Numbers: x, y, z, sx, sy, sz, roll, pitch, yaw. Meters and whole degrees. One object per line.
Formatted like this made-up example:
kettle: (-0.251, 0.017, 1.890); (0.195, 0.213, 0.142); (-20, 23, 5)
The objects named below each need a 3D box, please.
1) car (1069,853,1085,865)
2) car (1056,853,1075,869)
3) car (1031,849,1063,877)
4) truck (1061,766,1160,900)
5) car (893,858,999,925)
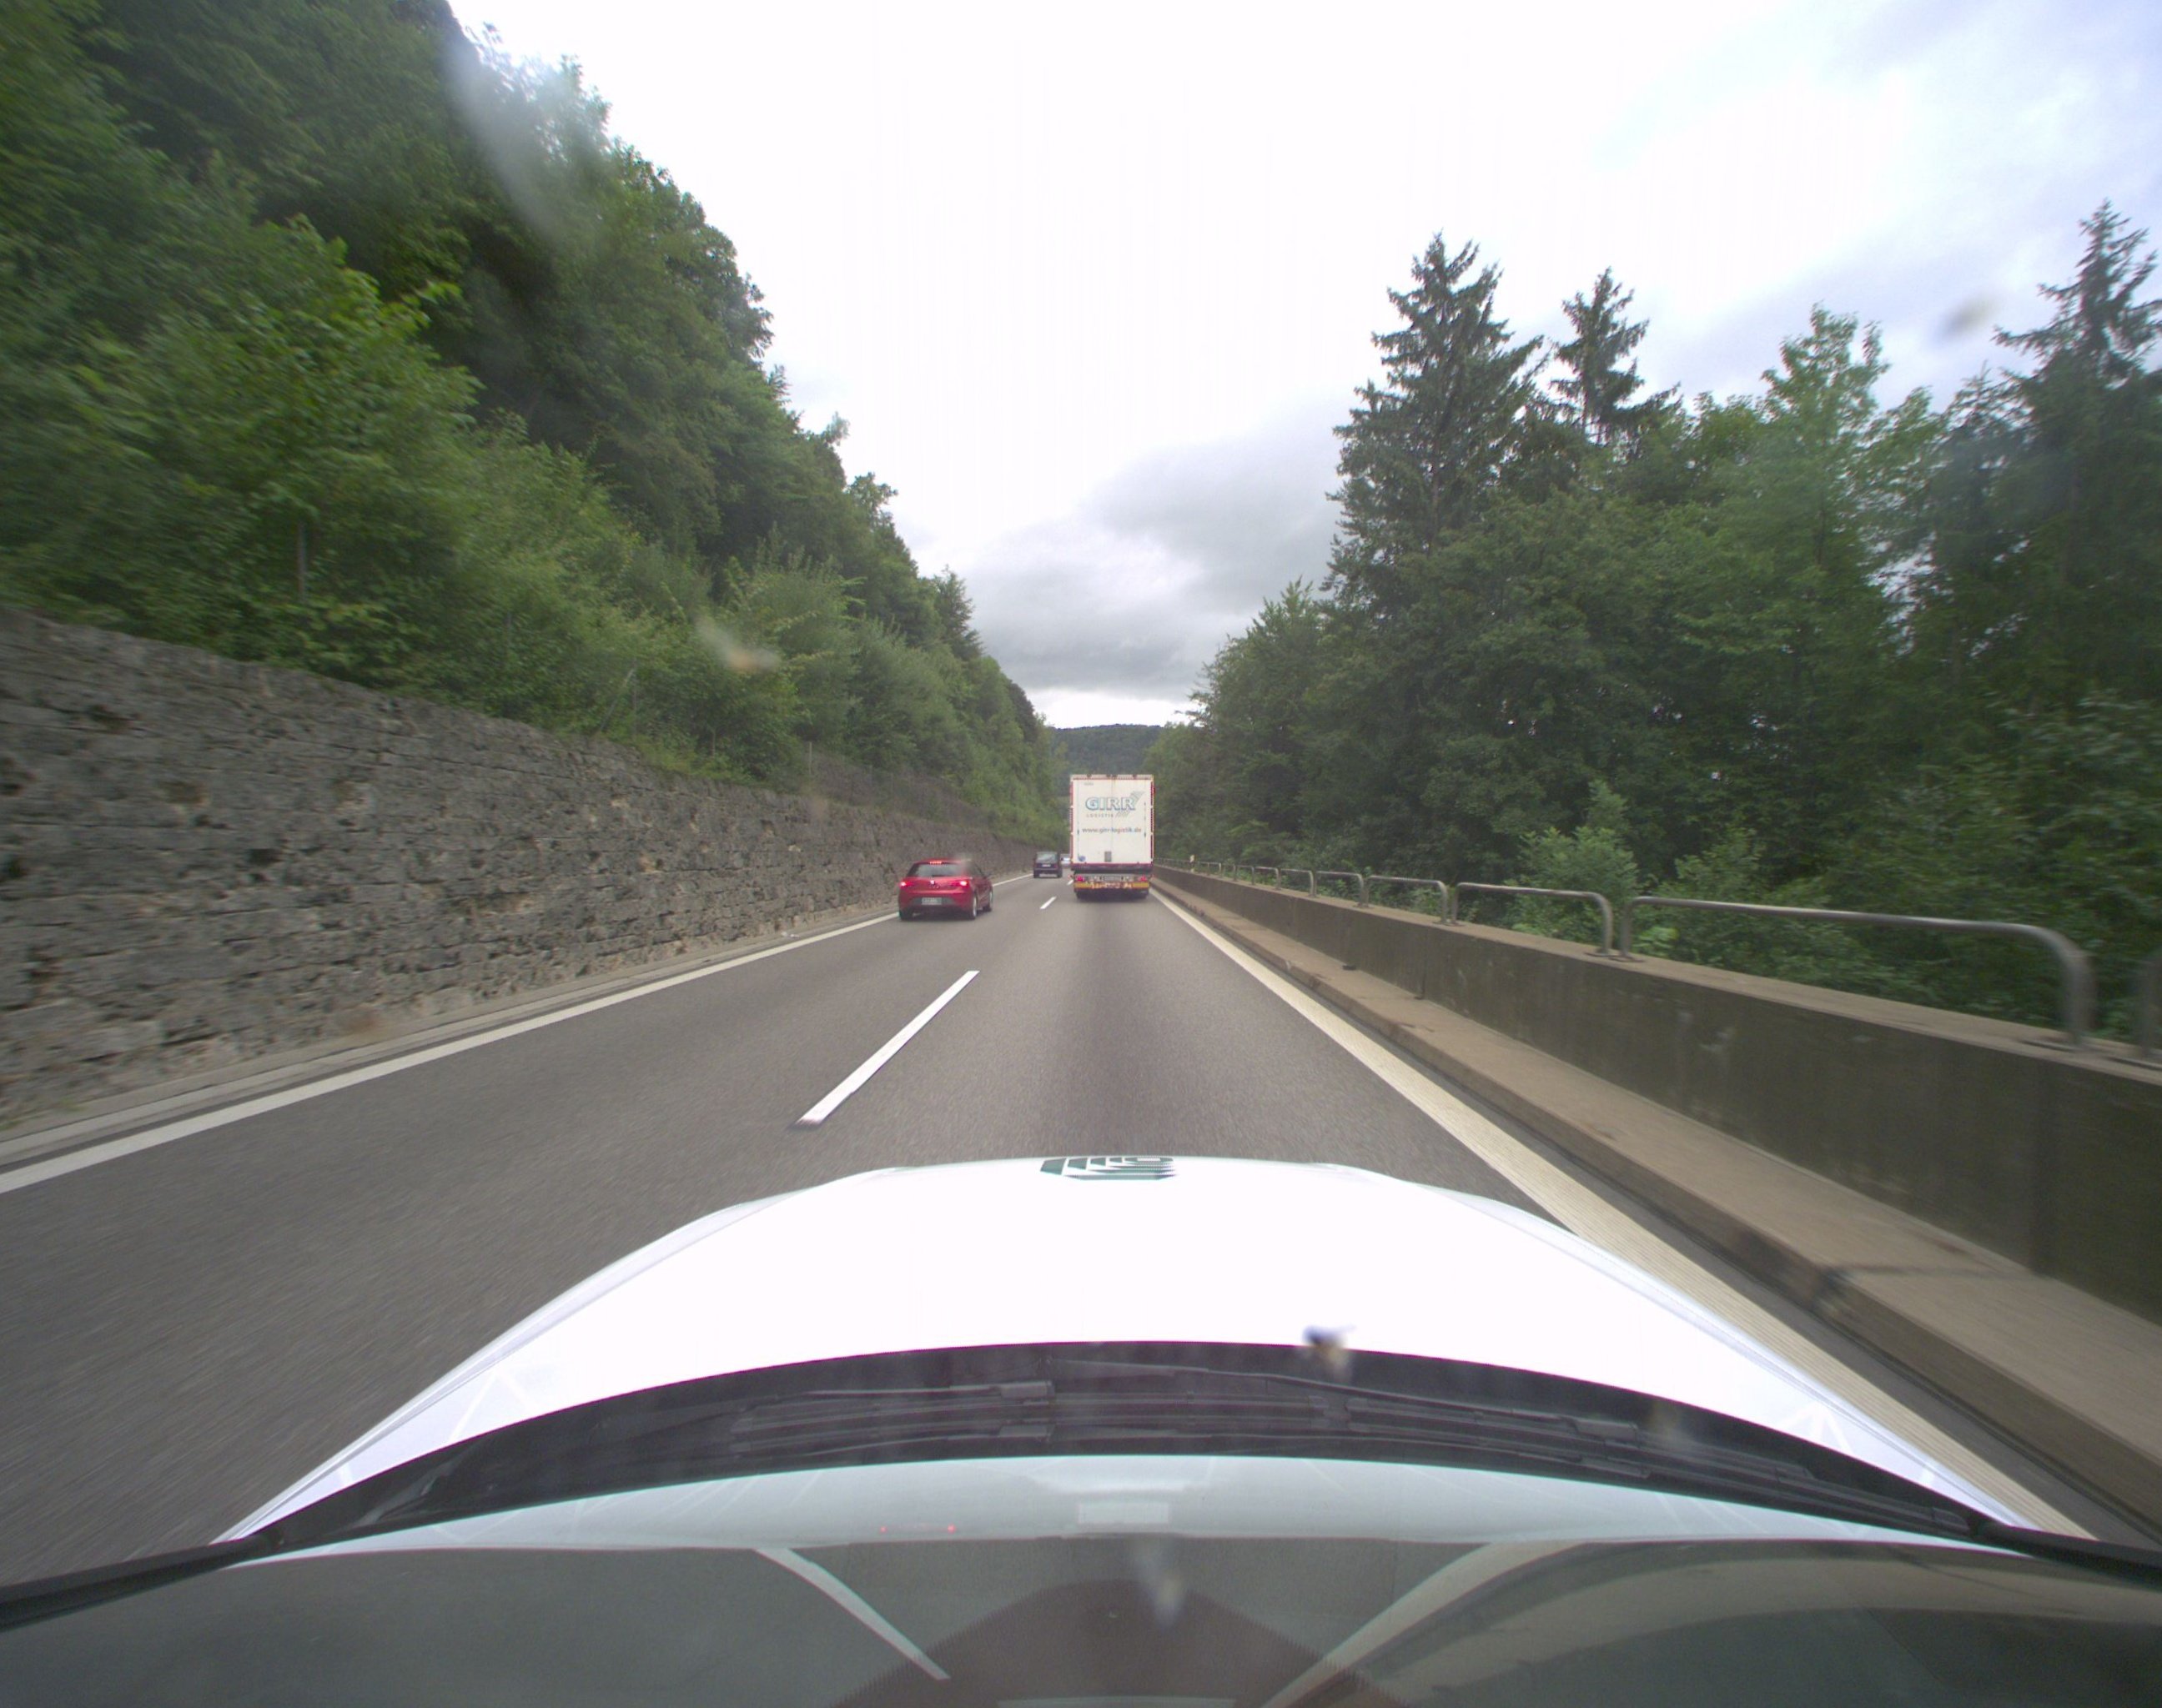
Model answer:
car: (-0.520, 0.664, 110.611); (1.910, 1.595, 4.180); (-1, -1, 2)
car: (-1.582, 0.722, 83.587); (1.723, 1.486, 4.001); (-1, -1, 2)
car: (-2.108, 0.546, 51.126); (1.662, 1.639, 4.070); (-1, -1, 2)
truck: (1.071, -0.609, 28.995); (2.897, 3.960, 9.284); (-1, 0, 2)
car: (-3.211, 0.853, 20.179); (1.760, 1.460, 4.412); (-1, -1, 1)
